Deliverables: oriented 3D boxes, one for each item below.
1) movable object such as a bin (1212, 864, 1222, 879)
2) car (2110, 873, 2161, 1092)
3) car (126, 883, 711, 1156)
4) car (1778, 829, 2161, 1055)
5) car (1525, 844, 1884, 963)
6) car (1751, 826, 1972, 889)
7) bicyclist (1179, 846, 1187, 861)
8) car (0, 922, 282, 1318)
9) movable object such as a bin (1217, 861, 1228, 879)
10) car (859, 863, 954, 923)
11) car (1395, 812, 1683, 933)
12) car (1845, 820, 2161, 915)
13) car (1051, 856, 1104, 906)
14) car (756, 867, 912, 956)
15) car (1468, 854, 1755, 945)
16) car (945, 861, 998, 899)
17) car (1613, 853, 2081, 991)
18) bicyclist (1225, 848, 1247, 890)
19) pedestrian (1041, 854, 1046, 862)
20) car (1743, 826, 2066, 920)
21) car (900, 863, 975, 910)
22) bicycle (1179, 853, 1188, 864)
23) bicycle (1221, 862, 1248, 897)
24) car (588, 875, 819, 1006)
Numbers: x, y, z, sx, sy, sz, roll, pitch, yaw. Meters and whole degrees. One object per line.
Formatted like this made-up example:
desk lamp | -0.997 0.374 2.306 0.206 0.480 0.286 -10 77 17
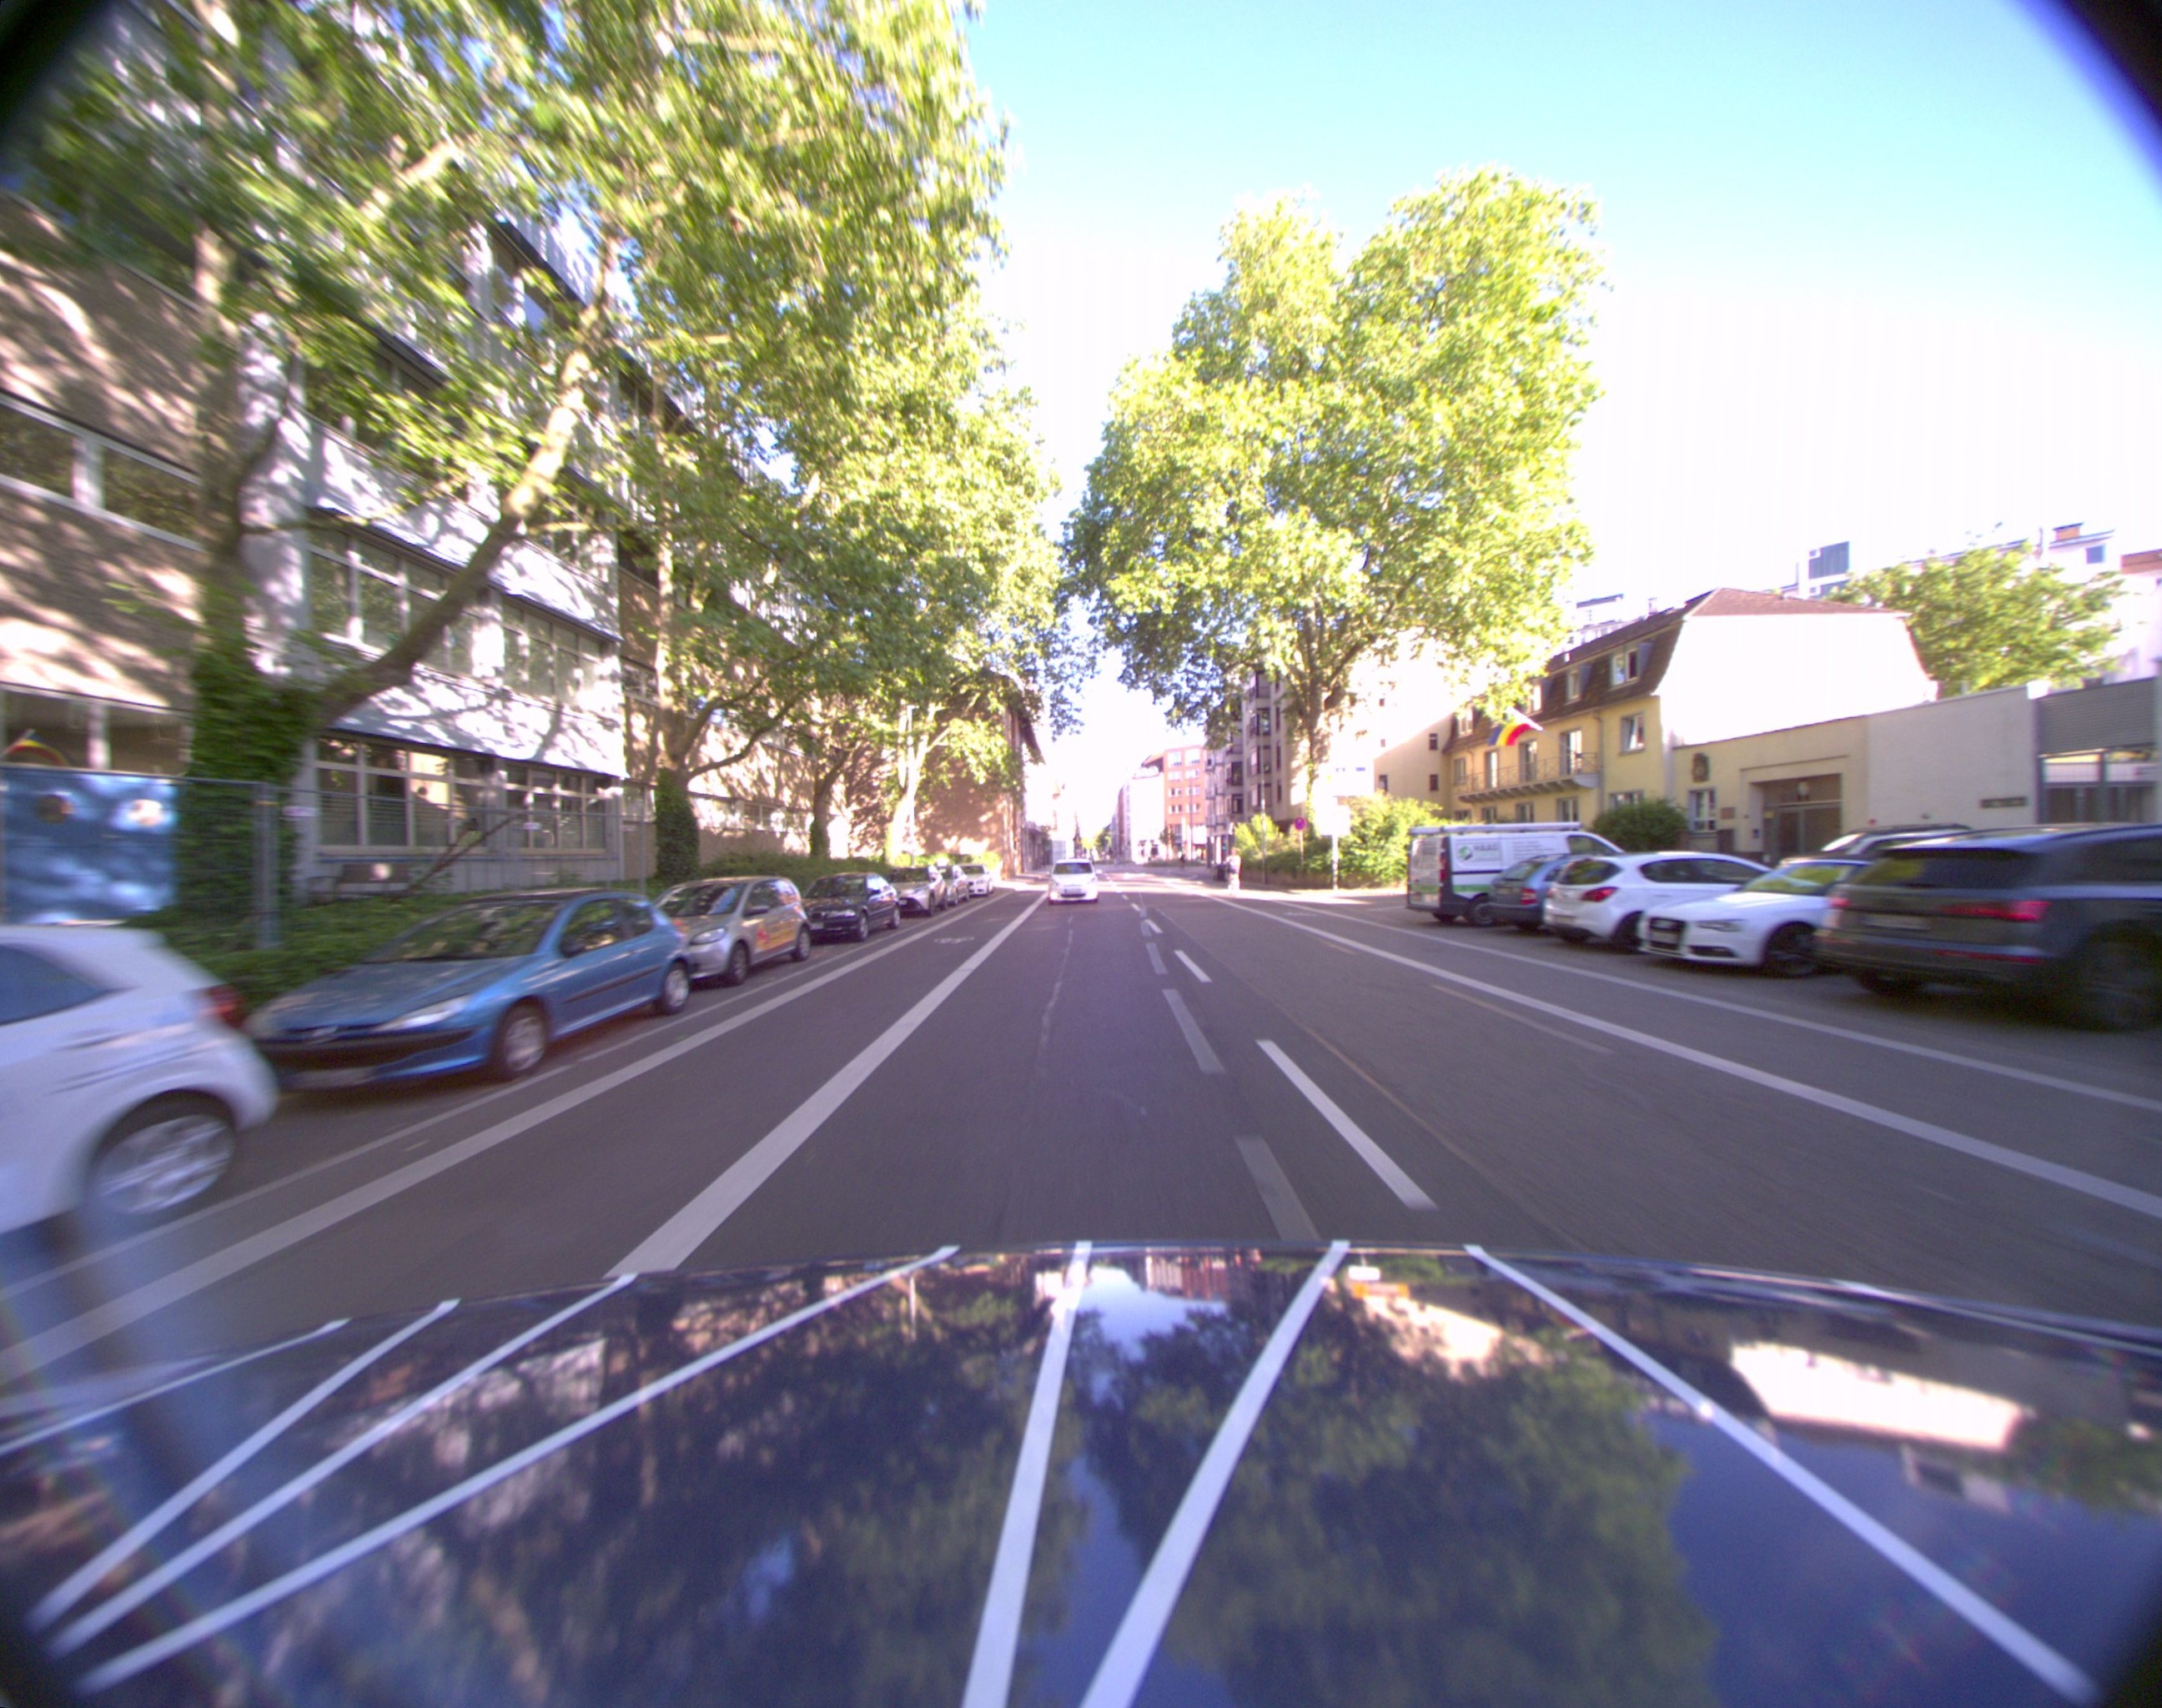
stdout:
movable object such as a bin | 8.633 1.095 48.242 0.542 0.896 0.604 -1 1 1
car | 9.194 0.793 4.343 3.997 1.447 1.916 -2 0 0
car | -5.232 1.143 6.886 1.860 1.502 3.928 -3 0 -2
car | 9.432 0.652 6.957 4.204 1.674 2.028 -2 1 0
car | 9.461 0.712 11.794 3.997 1.550 1.853 -2 0 0
car | 20.862 0.102 20.457 3.870 1.409 1.891 -3 -1 2
bicyclist | 11.024 -0.025 82.035 0.730 1.632 1.167 -1 1 2
car | -5.174 1.151 2.179 1.641 1.477 3.760 -3 0 2
movable object such as a bin | 8.629 0.986 46.363 0.595 1.065 0.644 -1 1 1
car | -5.167 1.104 23.087 1.860 1.514 4.296 -2 0 0
car | 9.673 0.373 16.386 4.856 2.204 2.140 -3 1 0
car | 17.432 0.210 14.414 1.794 1.455 4.000 -3 0 0
car | -0.136 0.864 26.127 1.683 1.490 3.684 -1 1 -1
car | -5.197 1.125 16.715 1.860 1.514 4.598 -3 0 0
car | 9.666 0.788 14.096 3.997 1.425 1.853 -2 0 0
car | -4.797 1.091 33.882 1.860 1.428 4.968 -2 0 -3
car | 9.386 0.778 9.592 3.997 1.424 1.853 -2 0 0
bicyclist | 5.819 0.562 28.518 0.608 1.536 0.934 1 0 0
pedestrian | -6.045 0.667 123.060 0.707 1.225 0.770 2 1 -8
car | 15.280 0.316 14.497 1.794 1.455 4.000 -3 0 0
car | -5.124 1.132 27.731 1.860 1.428 4.602 -2 0 0
bicycle | 11.022 0.505 82.072 0.730 1.193 2.179 0 1 2
bicycle | 5.827 0.948 28.884 0.608 1.232 2.049 1 0 0
car | -5.354 1.140 11.310 1.617 1.466 3.492 -3 0 0
